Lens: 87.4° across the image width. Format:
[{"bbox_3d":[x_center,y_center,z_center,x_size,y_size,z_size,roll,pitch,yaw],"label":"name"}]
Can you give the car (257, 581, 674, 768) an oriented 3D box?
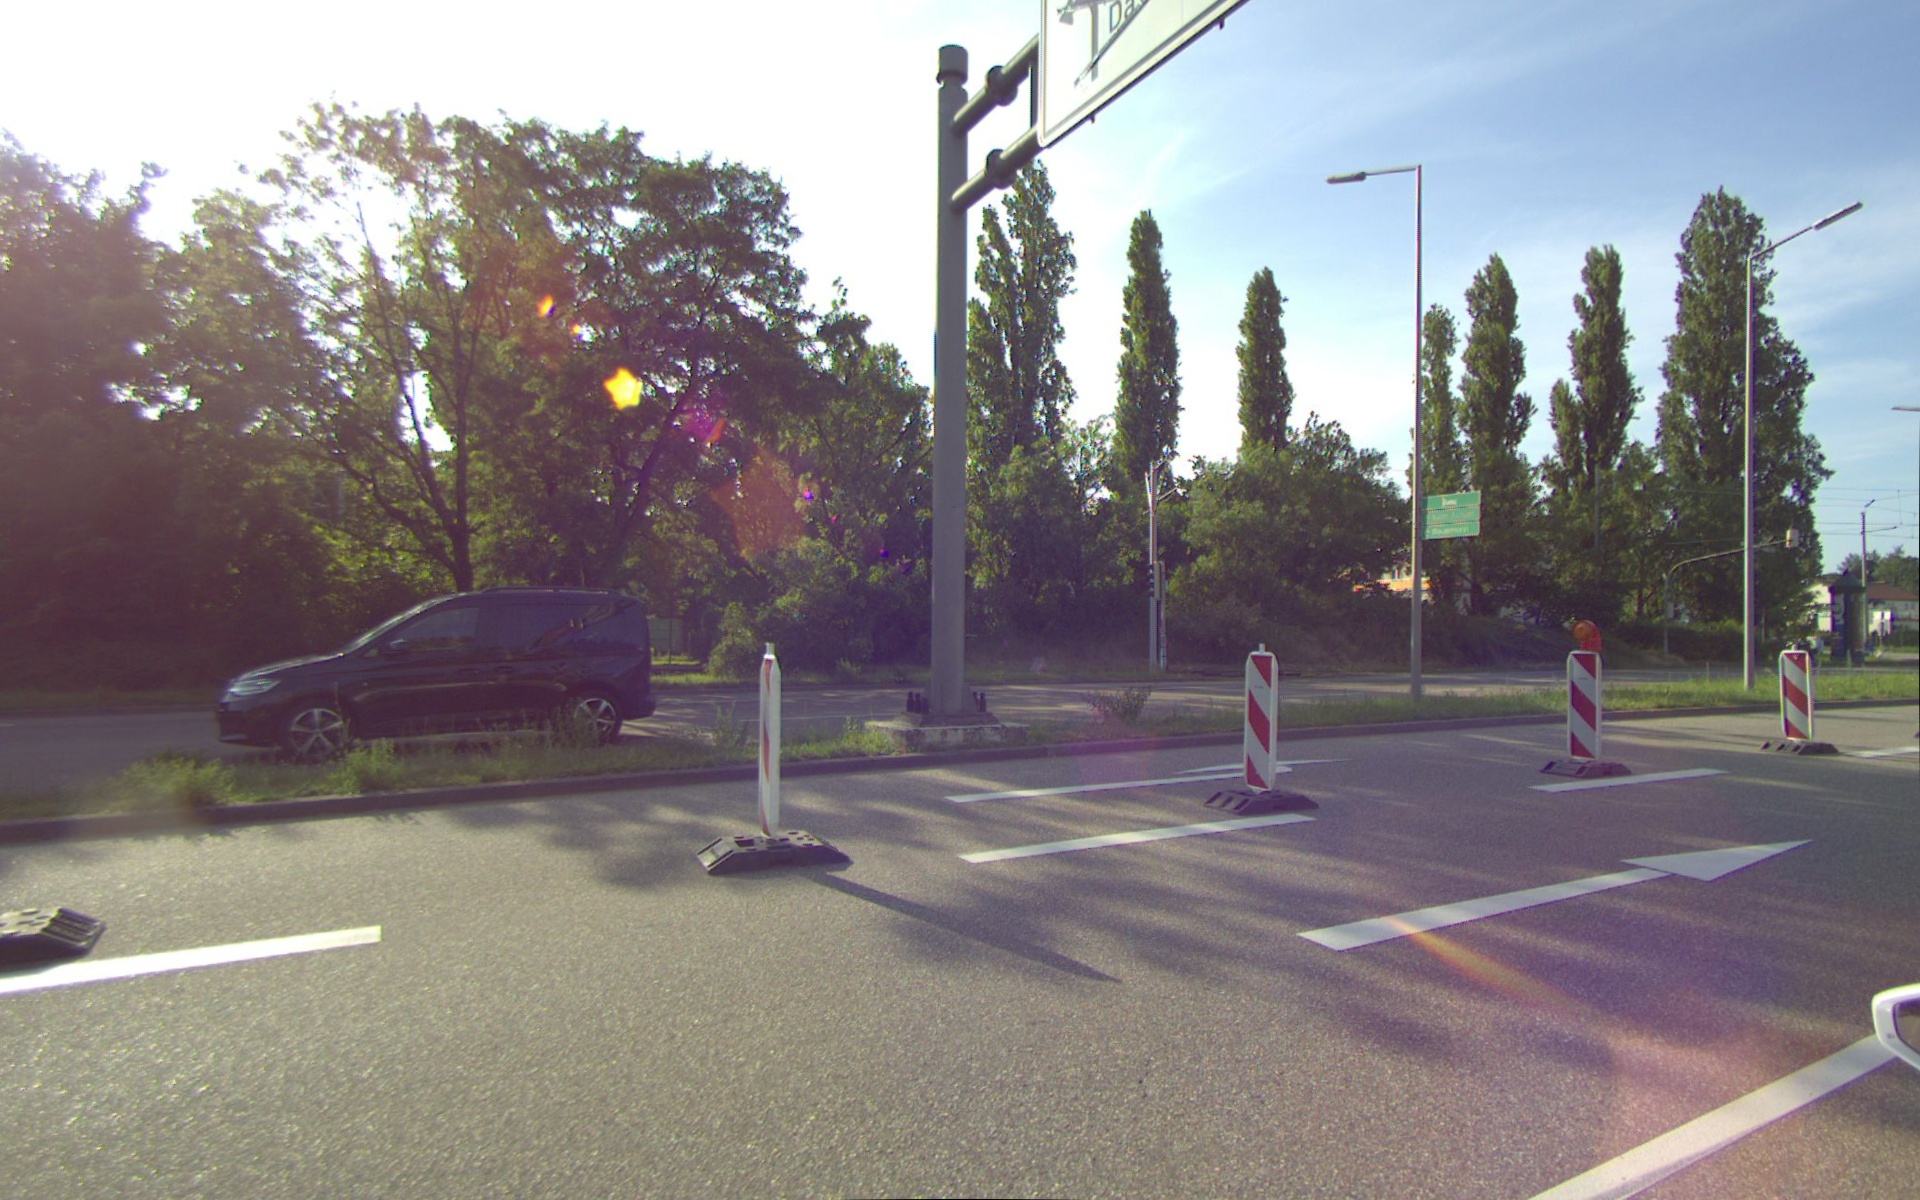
[{"bbox_3d":[-5.618,0.778,11.692,4.079,1.831,1.775,1,-1,-33],"label":"car"}]
